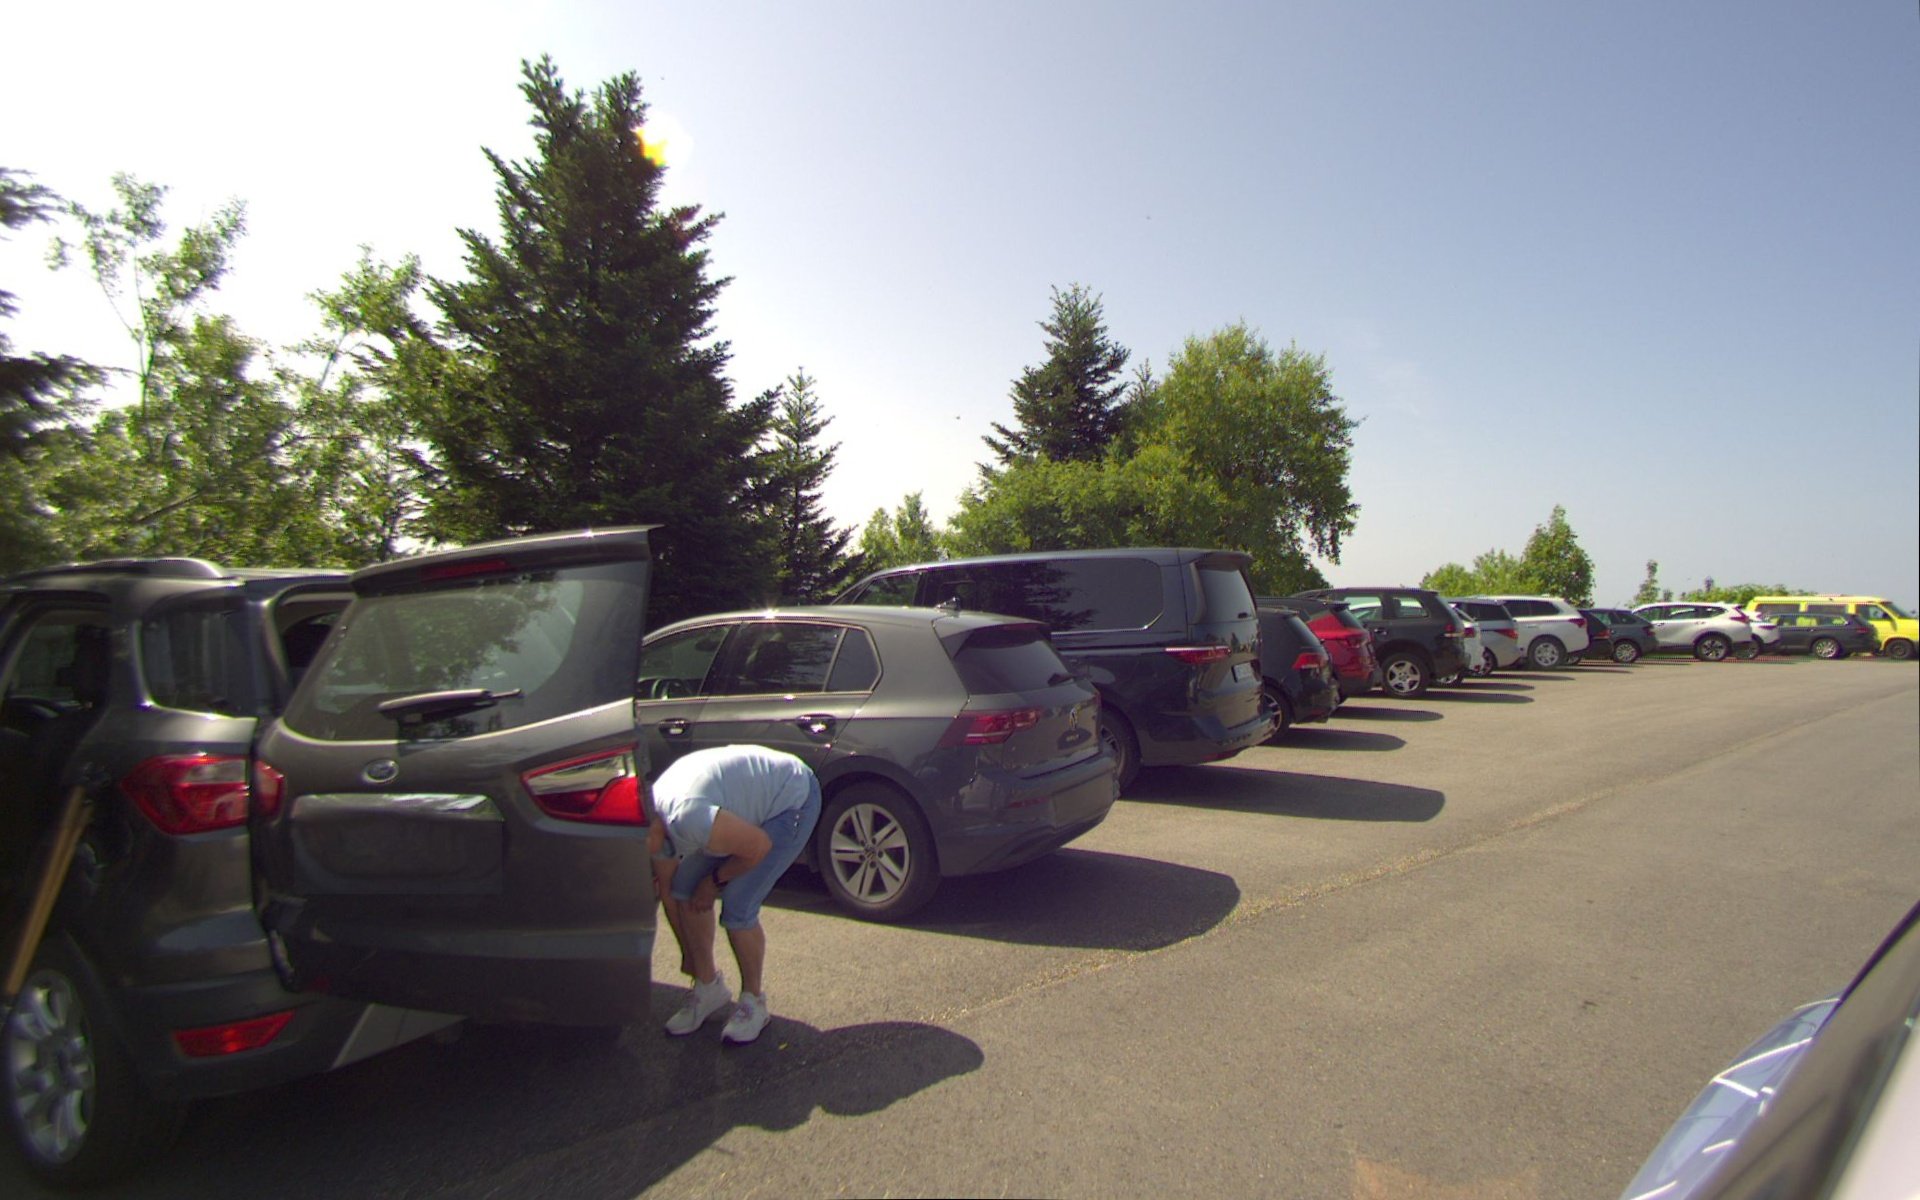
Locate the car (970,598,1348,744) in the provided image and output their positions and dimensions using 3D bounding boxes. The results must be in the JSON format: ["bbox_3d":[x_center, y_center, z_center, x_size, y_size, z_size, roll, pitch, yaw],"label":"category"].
[{"bbox_3d":[2.251,0.728,11.454,3.951,1.433,1.732,-1,-1,21],"label":"car"}]

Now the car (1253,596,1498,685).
[{"bbox_3d":[7.539,0.693,18.526,3.959,1.495,1.752,-1,0,26],"label":"car"}]

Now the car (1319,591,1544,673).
[{"bbox_3d":[9.482,0.640,20.721,3.947,1.569,1.809,-1,-1,19],"label":"car"}]

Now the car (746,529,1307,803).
[{"bbox_3d":[0.467,0.497,9.153,4.737,1.904,1.943,-1,-1,33],"label":"car"}]

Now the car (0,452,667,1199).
[{"bbox_3d":[-3.332,0.645,3.750,3.955,1.683,1.984,-3,-2,24],"label":"car"}]

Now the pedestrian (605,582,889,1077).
[{"bbox_3d":[-0.747,0.673,3.446,0.656,1.420,0.777,2,1,-33],"label":"pedestrian"}]

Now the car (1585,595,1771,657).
[{"bbox_3d":[20.292,0.727,28.858,4.152,1.671,1.870,-1,-1,32],"label":"car"}]

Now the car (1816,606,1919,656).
[{"bbox_3d":[31.671,1.039,34.008,1.672,1.609,4.164,2,-1,-35],"label":"car"}]

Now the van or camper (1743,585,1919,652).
[{"bbox_3d":[28.890,0.621,32.885,1.846,2.040,5.107,2,-2,-34],"label":"van or camper"}]

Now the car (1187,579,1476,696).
[{"bbox_3d":[6.069,0.581,16.686,4.228,1.716,1.973,-1,-1,25],"label":"car"}]

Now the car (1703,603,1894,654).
[{"bbox_3d":[26.185,0.892,31.730,1.780,1.507,4.358,3,-3,-40],"label":"car"}]

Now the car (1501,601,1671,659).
[{"bbox_3d":[16.783,0.785,27.364,3.772,1.478,1.645,-1,-2,29],"label":"car"}]

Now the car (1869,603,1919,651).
[{"bbox_3d":[34.328,0.965,35.133,1.884,1.634,3.990,2,-1,-43],"label":"car"}]

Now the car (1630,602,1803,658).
[{"bbox_3d":[22.739,0.854,30.527,4.079,1.519,1.916,1,0,40],"label":"car"}]

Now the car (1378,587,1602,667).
[{"bbox_3d":[11.934,0.577,23.089,4.164,1.716,1.855,0,-1,14],"label":"car"}]

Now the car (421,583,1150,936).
[{"bbox_3d":[-1.069,0.693,5.951,3.962,1.461,1.822,-1,-1,28],"label":"car"}]

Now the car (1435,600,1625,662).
[{"bbox_3d":[14.427,0.765,25.885,4.005,1.480,1.880,-1,-1,23],"label":"car"}]

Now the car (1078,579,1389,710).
[{"bbox_3d":[3.818,0.583,14.131,3.957,1.610,1.848,-1,-1,25],"label":"car"}]
